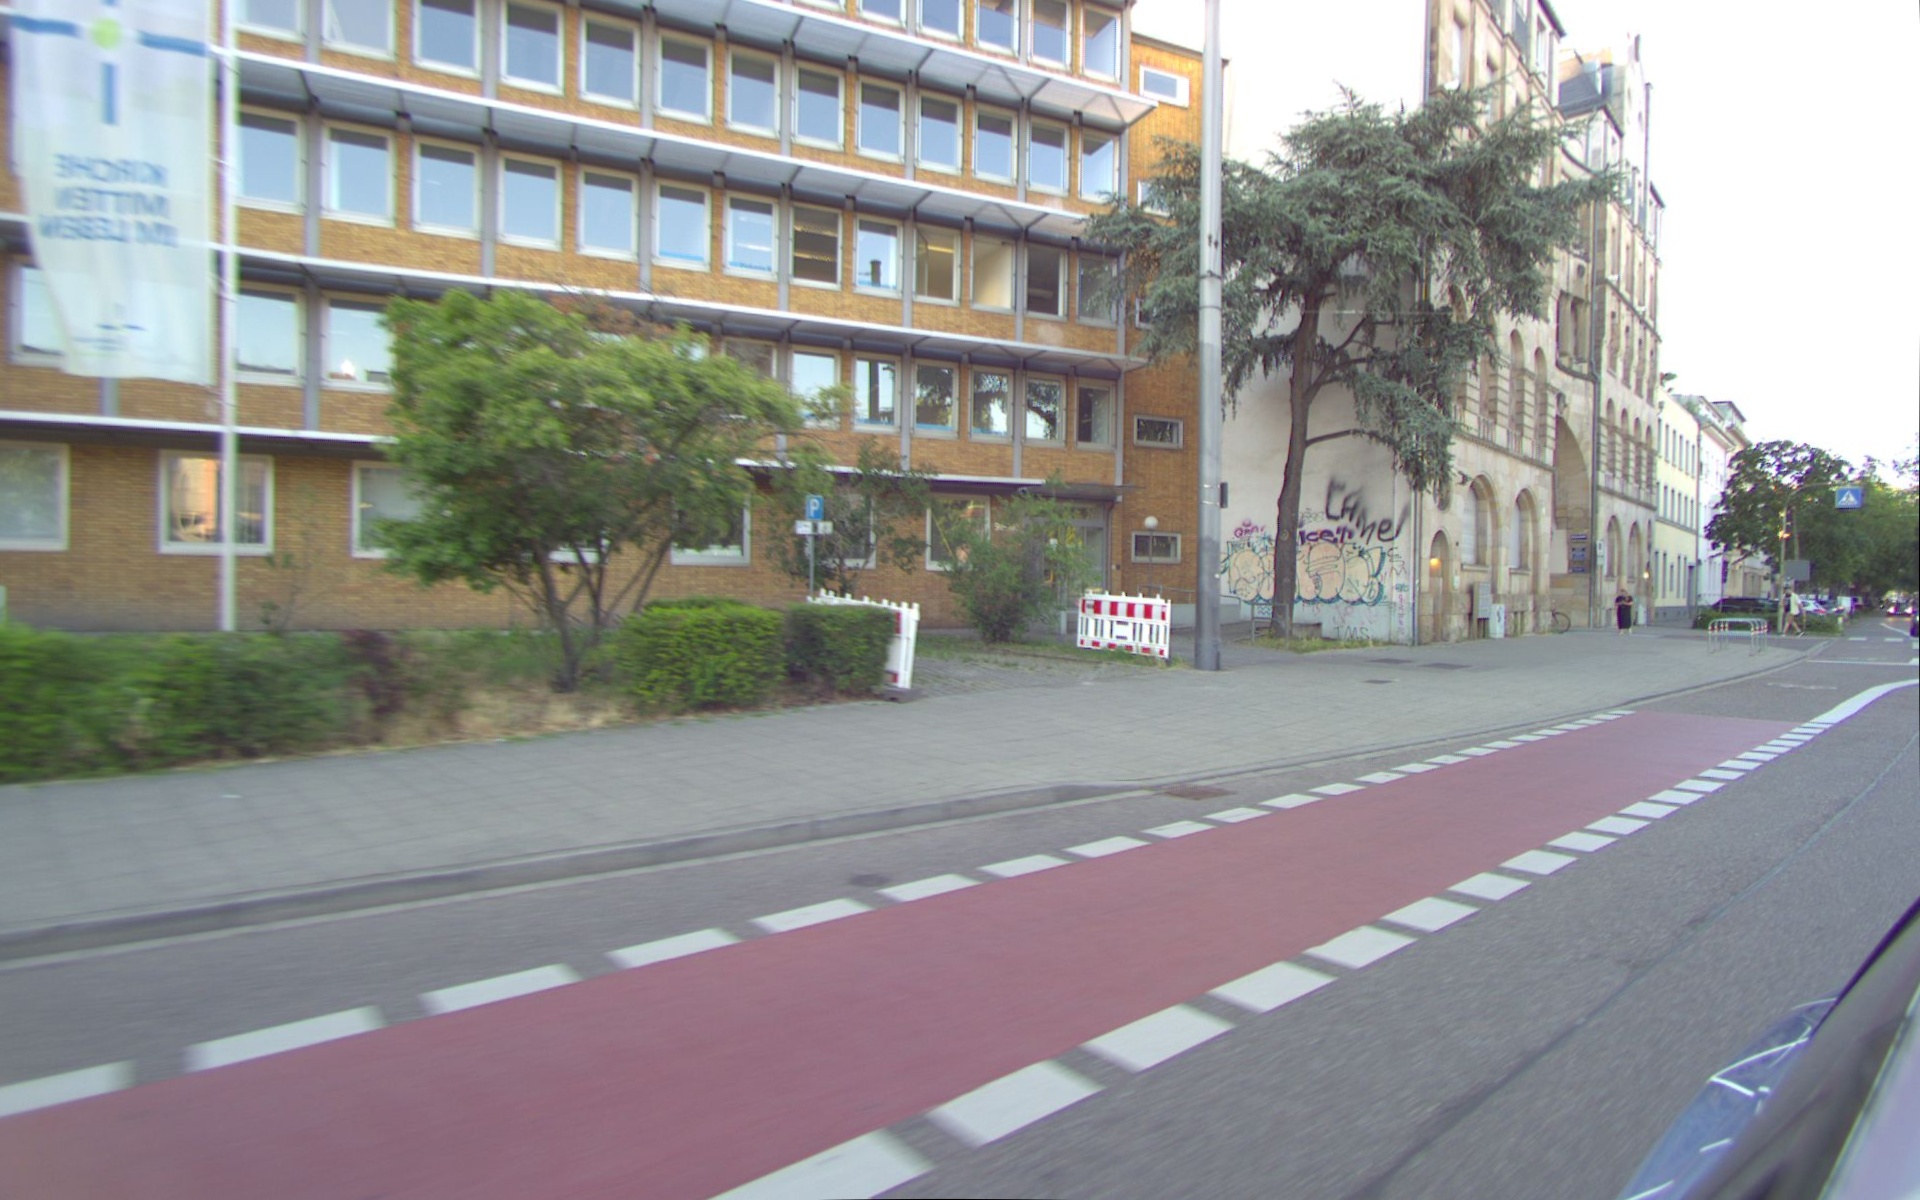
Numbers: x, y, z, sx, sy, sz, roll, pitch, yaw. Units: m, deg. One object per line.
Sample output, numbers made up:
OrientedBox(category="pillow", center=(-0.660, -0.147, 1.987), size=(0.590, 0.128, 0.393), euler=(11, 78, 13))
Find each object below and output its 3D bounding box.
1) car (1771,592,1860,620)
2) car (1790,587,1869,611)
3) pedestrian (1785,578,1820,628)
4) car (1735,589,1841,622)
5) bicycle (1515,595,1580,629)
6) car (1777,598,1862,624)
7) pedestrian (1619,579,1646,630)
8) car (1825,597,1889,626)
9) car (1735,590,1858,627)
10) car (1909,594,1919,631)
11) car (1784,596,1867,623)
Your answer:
OrientedBox(category="car", center=(52.703, 0.355, 62.389), size=(4.055, 1.571, 1.969), euler=(3, 1, 43))
OrientedBox(category="car", center=(65.186, -0.050, 75.901), size=(4.384, 1.633, 1.702), euler=(3, 1, 43))
OrientedBox(category="pedestrian", center=(31.368, 0.113, 37.662), size=(0.804, 1.814, 0.593), euler=(2, 0, -14))
OrientedBox(category="car", center=(43.097, 0.271, 52.705), size=(1.807, 1.590, 4.059), euler=(2, 1, -44))
OrientedBox(category="bicycle", center=(20.070, 0.400, 34.580), size=(1.850, 1.086, 0.422), euler=(2, 0, 43))
OrientedBox(category="car", center=(59.225, 0.759, 69.796), size=(1.960, 1.571, 4.073), euler=(2, 1, -31))
OrientedBox(category="pedestrian", center=(23.329, 0.165, 35.098), size=(0.709, 1.730, 0.576), euler=(2, 0, -43))
OrientedBox(category="car", center=(77.848, 1.006, 87.864), size=(4.055, 2.323, 1.969), euler=(2, 1, 43))
OrientedBox(category="car", center=(40.146, 0.389, 48.618), size=(1.807, 1.577, 4.388), euler=(2, 1, -44))
OrientedBox(category="car", center=(41.728, 0.570, 42.851), size=(4.062, 1.501, 1.819), euler=(1, 1, -40))
OrientedBox(category="car", center=(56.678, 0.597, 66.324), size=(4.055, 1.571, 1.969), euler=(3, 1, 43))
